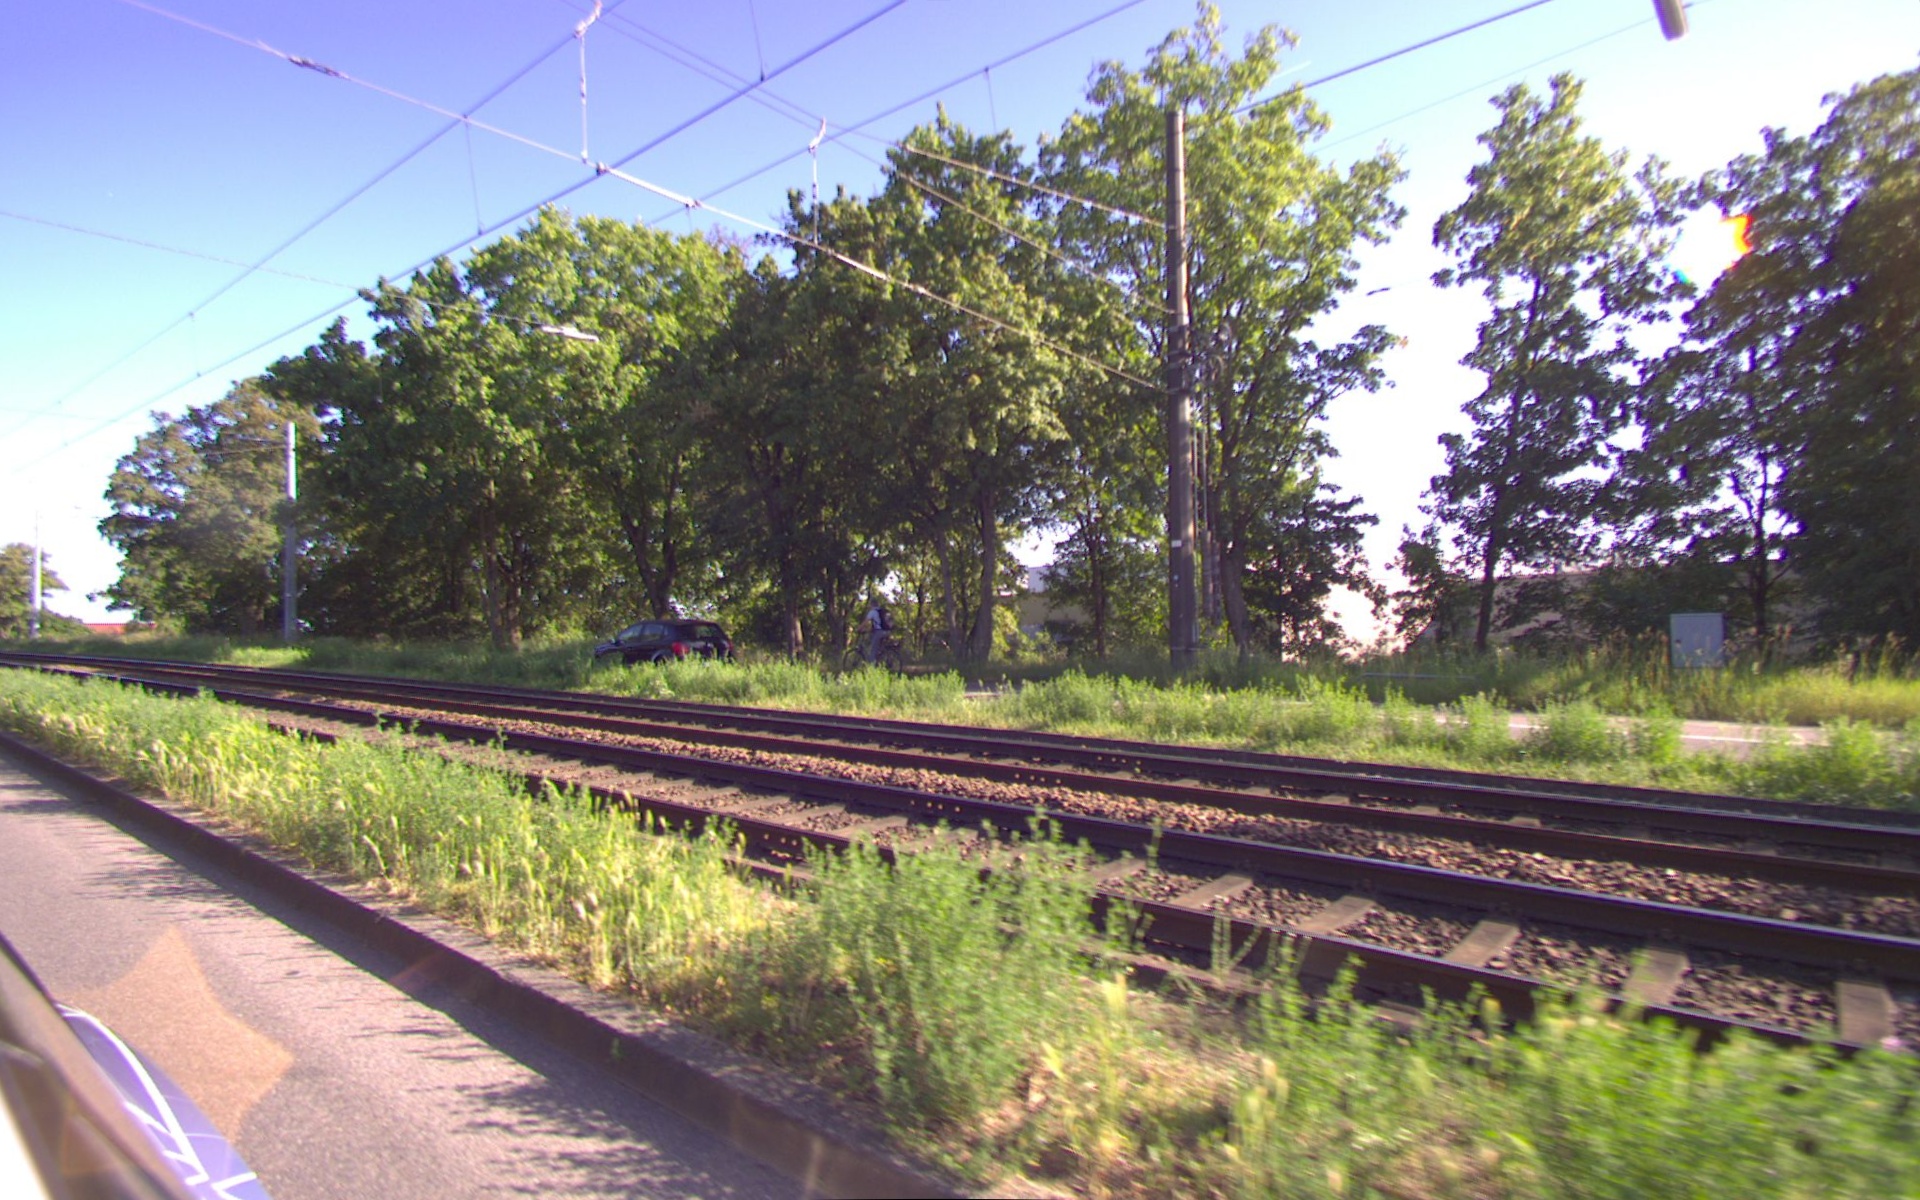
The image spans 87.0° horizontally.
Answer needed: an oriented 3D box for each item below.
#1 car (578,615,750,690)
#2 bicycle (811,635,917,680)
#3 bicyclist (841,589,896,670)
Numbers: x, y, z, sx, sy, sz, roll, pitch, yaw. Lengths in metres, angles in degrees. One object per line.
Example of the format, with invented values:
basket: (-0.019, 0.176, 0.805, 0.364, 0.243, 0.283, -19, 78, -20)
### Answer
car: (-6.554, 1.100, 22.224, 3.996, 1.490, 1.693, -1, -1, 40)
bicycle: (-2.166, 1.266, 22.595, 2.535, 0.921, 0.810, -1, -1, 40)
bicyclist: (-2.028, 0.655, 22.496, 0.901, 1.749, 0.811, -1, -1, 40)
